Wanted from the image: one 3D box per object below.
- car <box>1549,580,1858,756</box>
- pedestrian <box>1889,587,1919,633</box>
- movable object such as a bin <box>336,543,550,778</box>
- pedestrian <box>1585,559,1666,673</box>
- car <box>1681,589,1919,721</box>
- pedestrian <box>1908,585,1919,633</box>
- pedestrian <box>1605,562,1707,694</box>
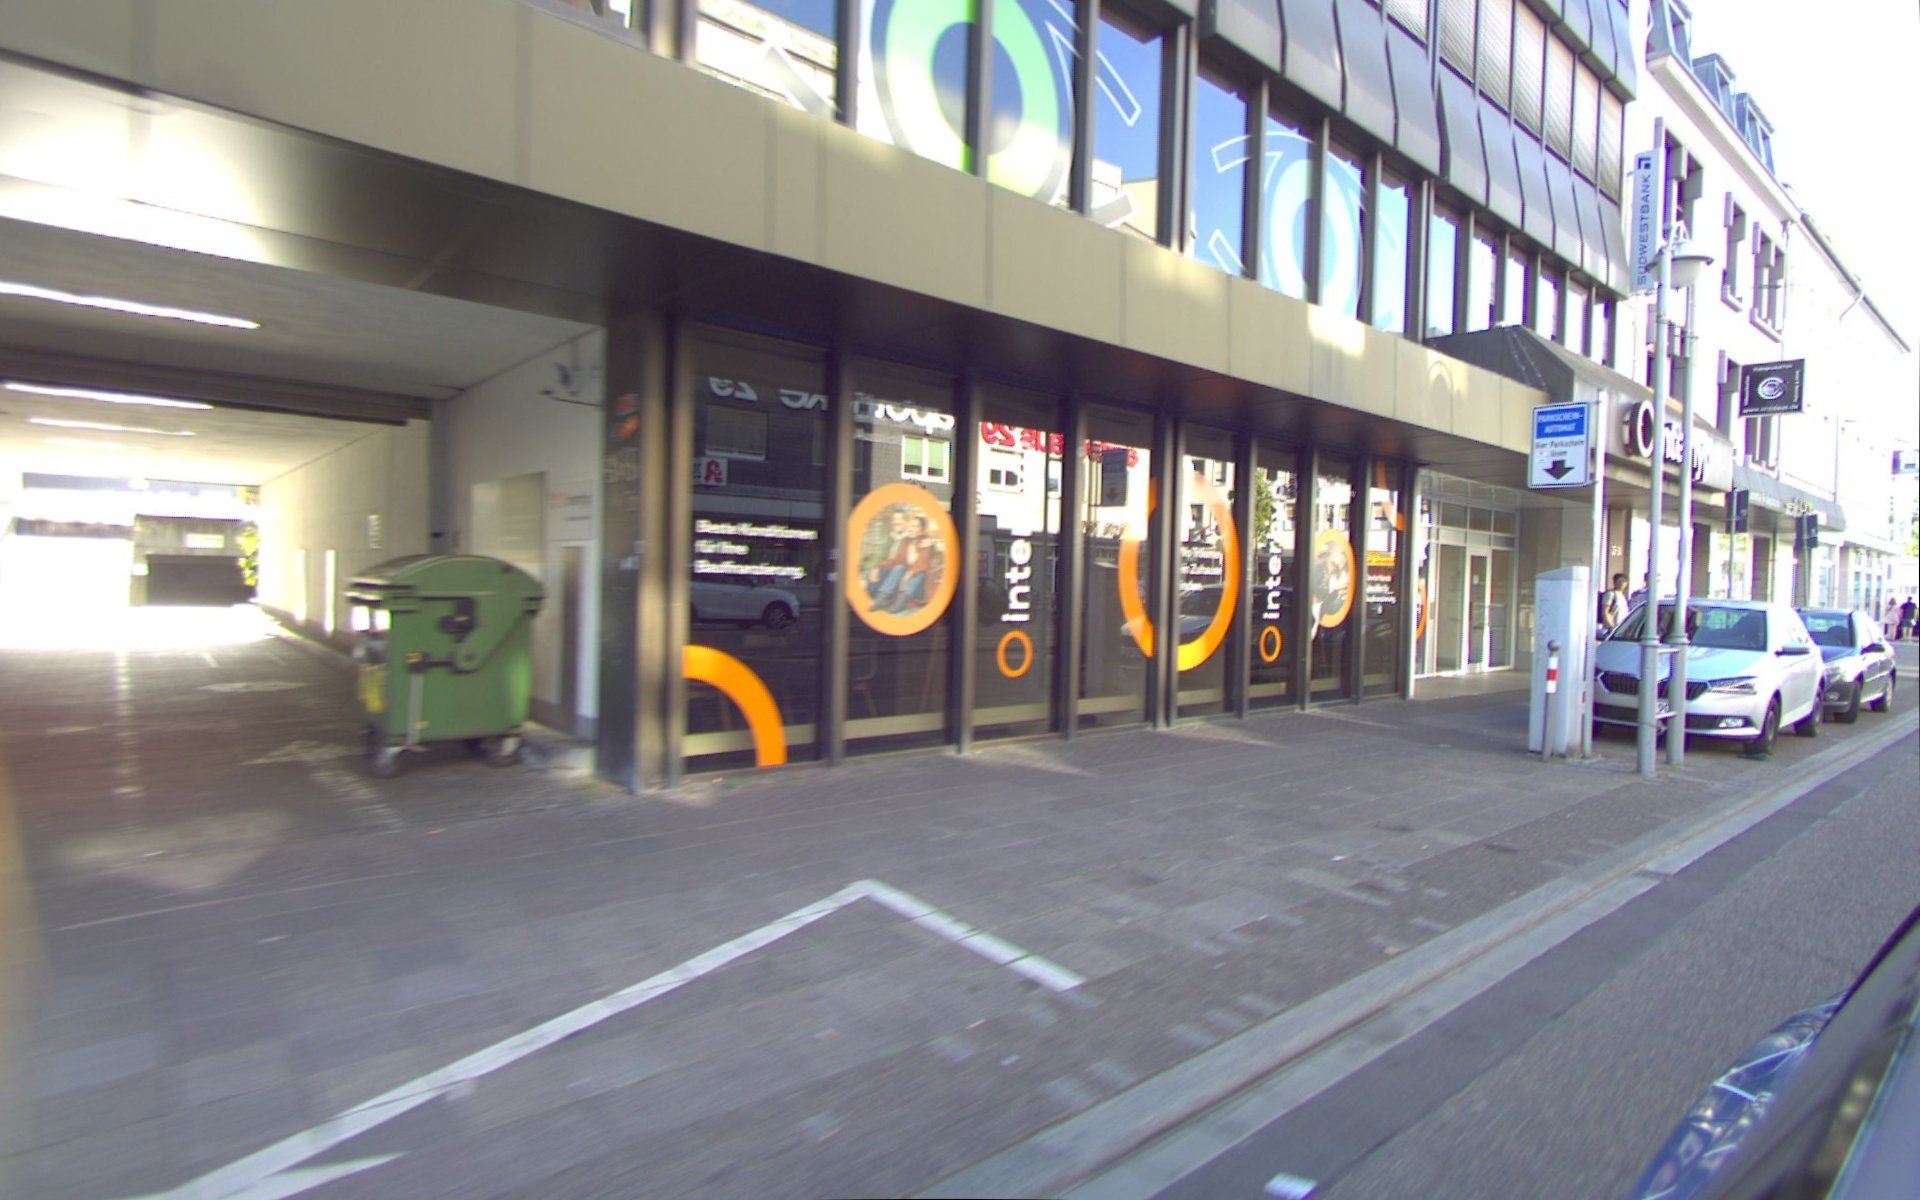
[{"bbox_3d":[8.105,0.595,10.889,4.220,1.480,1.749,0,2,-41],"label":"car"},{"bbox_3d":[37.627,0.392,40.353,0.562,1.781,0.651,1,1,-17],"label":"pedestrian"},{"bbox_3d":[-3.649,0.340,7.100,1.019,1.446,1.415,0,2,-41],"label":"movable object such as a bin"},{"bbox_3d":[10.771,0.244,16.382,1.013,1.774,0.781,1,1,-40],"label":"pedestrian"},{"bbox_3d":[11.826,0.657,14.046,4.224,1.480,1.853,0,3,-39],"label":"car"},{"bbox_3d":[37.984,0.357,39.849,0.628,1.865,0.683,1,1,-17],"label":"pedestrian"},{"bbox_3d":[10.470,0.389,15.227,0.981,1.865,0.925,1,3,-40],"label":"pedestrian"}]
